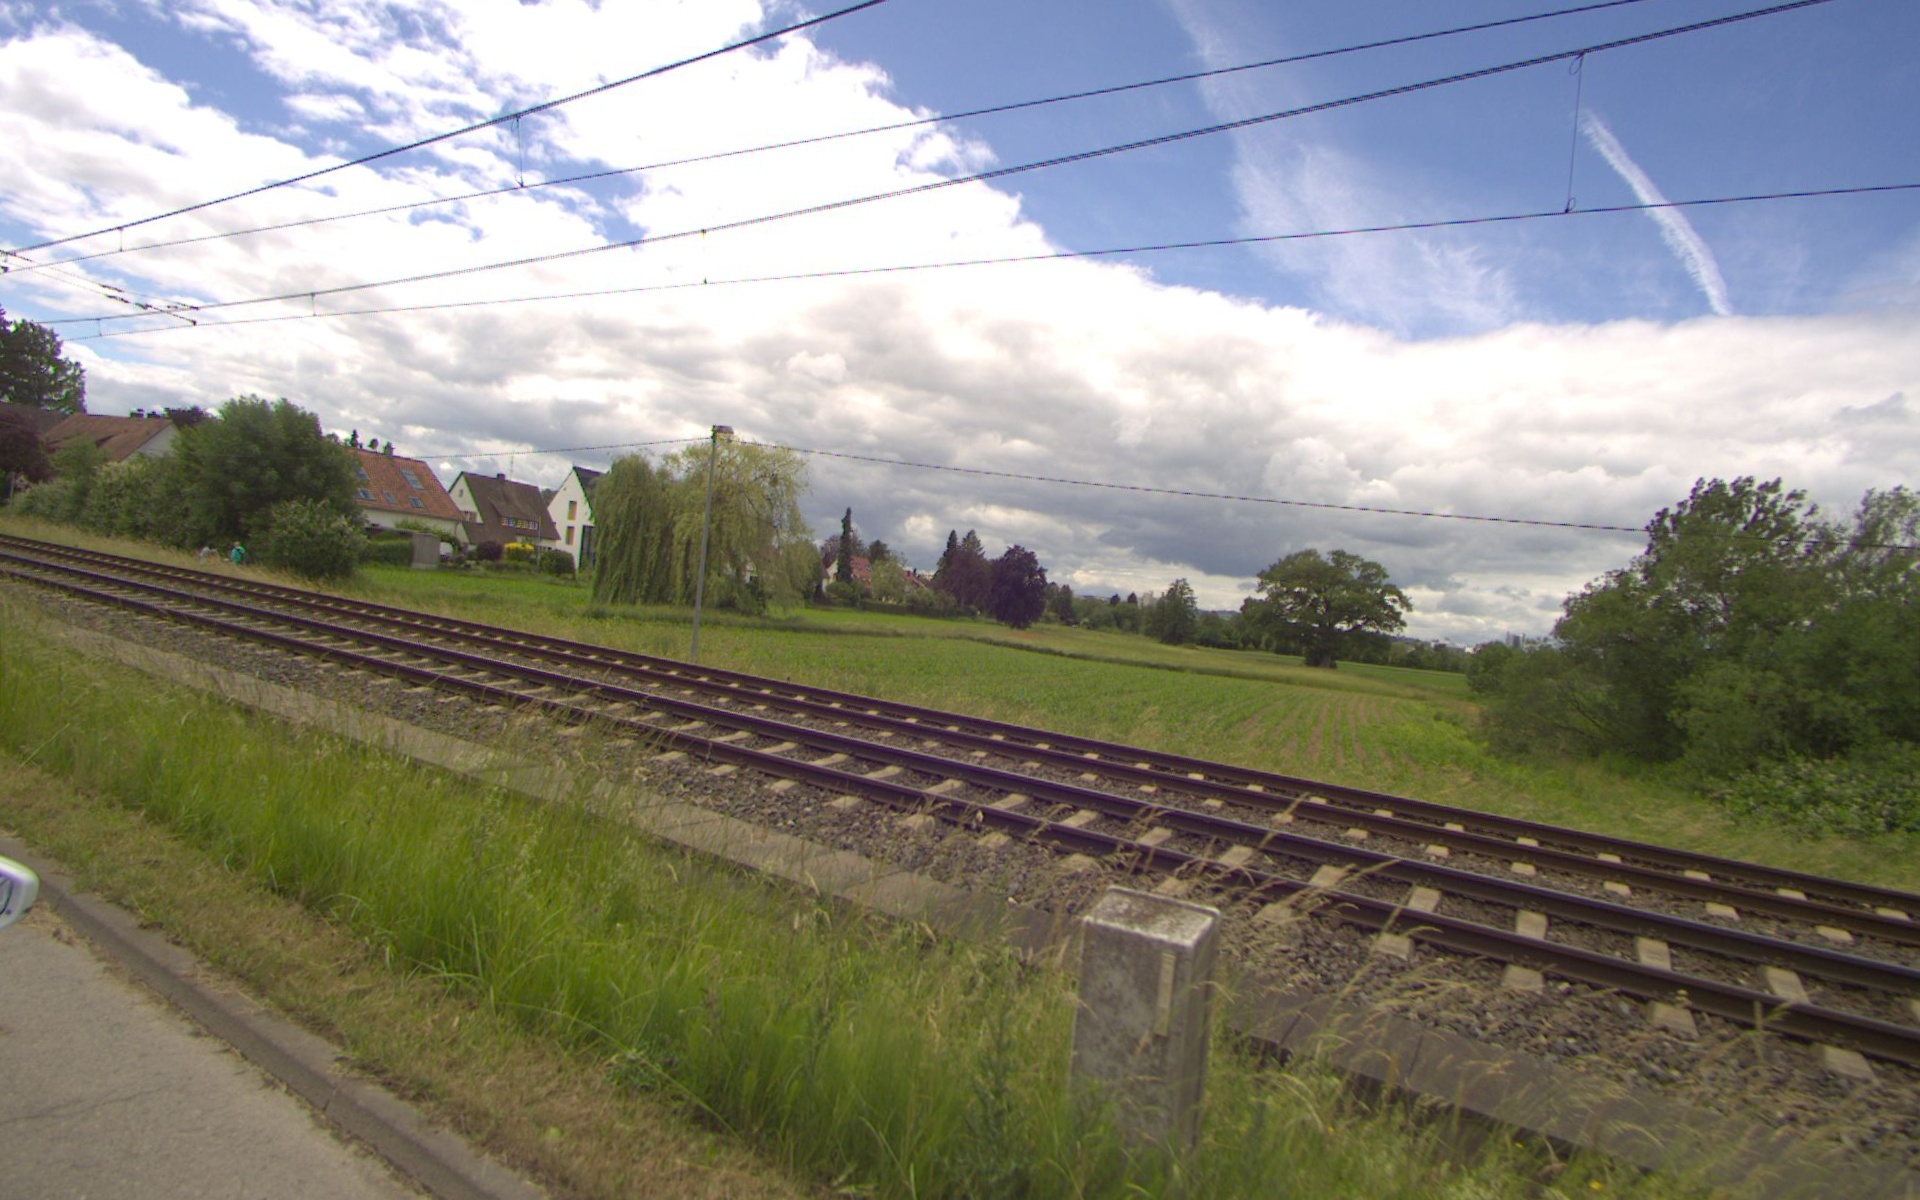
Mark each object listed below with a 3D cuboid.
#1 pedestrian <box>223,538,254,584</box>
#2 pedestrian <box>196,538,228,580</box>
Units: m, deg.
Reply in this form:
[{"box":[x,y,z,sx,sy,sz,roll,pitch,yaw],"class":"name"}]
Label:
[{"box":[-27.523,-1.471,38.385,0.574,1.641,0.617,7,-1,32],"class":"pedestrian"},{"box":[-27.989,-1.528,37.644,0.655,1.447,0.599,7,-1,31],"class":"pedestrian"}]
